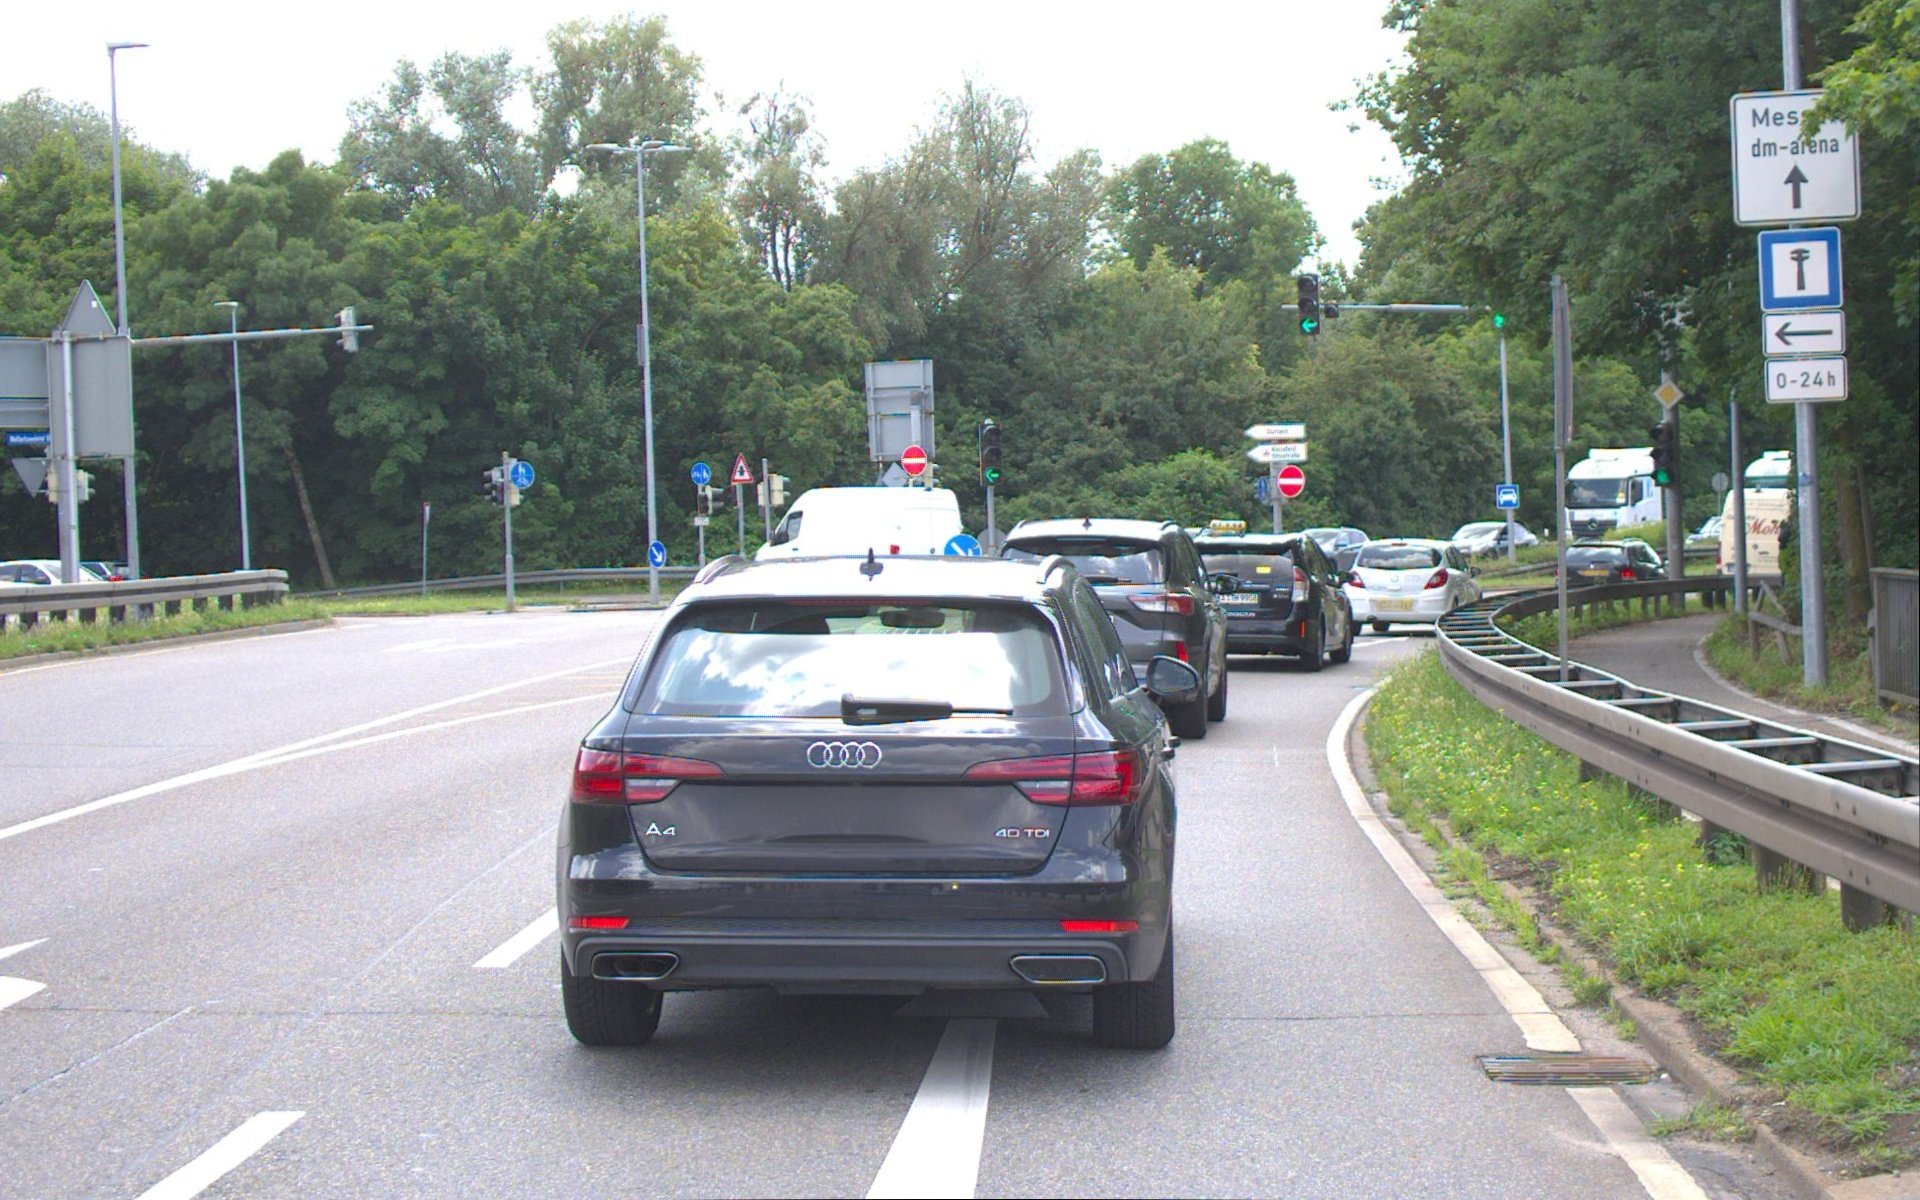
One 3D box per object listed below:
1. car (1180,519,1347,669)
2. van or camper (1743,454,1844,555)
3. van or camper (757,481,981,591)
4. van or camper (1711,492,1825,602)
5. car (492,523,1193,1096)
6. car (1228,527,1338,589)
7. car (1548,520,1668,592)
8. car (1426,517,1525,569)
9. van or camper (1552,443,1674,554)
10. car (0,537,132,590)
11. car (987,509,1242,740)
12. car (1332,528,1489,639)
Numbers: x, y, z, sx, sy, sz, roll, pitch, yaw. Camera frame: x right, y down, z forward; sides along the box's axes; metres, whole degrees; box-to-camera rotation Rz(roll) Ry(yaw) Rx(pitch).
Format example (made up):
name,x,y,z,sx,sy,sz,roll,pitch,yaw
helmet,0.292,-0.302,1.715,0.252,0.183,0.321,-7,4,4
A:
name,x,y,z,sx,sy,sz,roll,pitch,yaw
car,3.557,-0.109,39.787,1.734,1.646,3.855,0,1,8
van or camper,31.451,-3.621,129.552,2.907,3.603,8.008,2,2,19
van or camper,-2.065,-1.441,76.079,2.273,2.332,5.240,0,2,-38
van or camper,19.728,-1.317,83.809,1.996,2.581,4.085,1,2,23
car,-0.205,0.540,11.142,1.828,1.486,4.206,-1,0,3
car,9.209,-1.190,97.789,1.778,1.711,3.994,-1,1,26
car,12.958,-0.878,68.653,1.685,1.393,3.675,0,1,22
car,16.168,-1.807,107.760,1.524,1.495,3.304,3,4,41
van or camper,22.476,-3.505,118.081,2.907,3.603,8.123,2,2,19
car,-20.010,-0.810,75.464,3.585,1.113,1.591,1,1,35
car,1.216,0.137,26.736,1.821,1.646,3.855,1,1,3
car,7.001,-0.290,53.153,1.735,1.646,3.852,0,1,18
